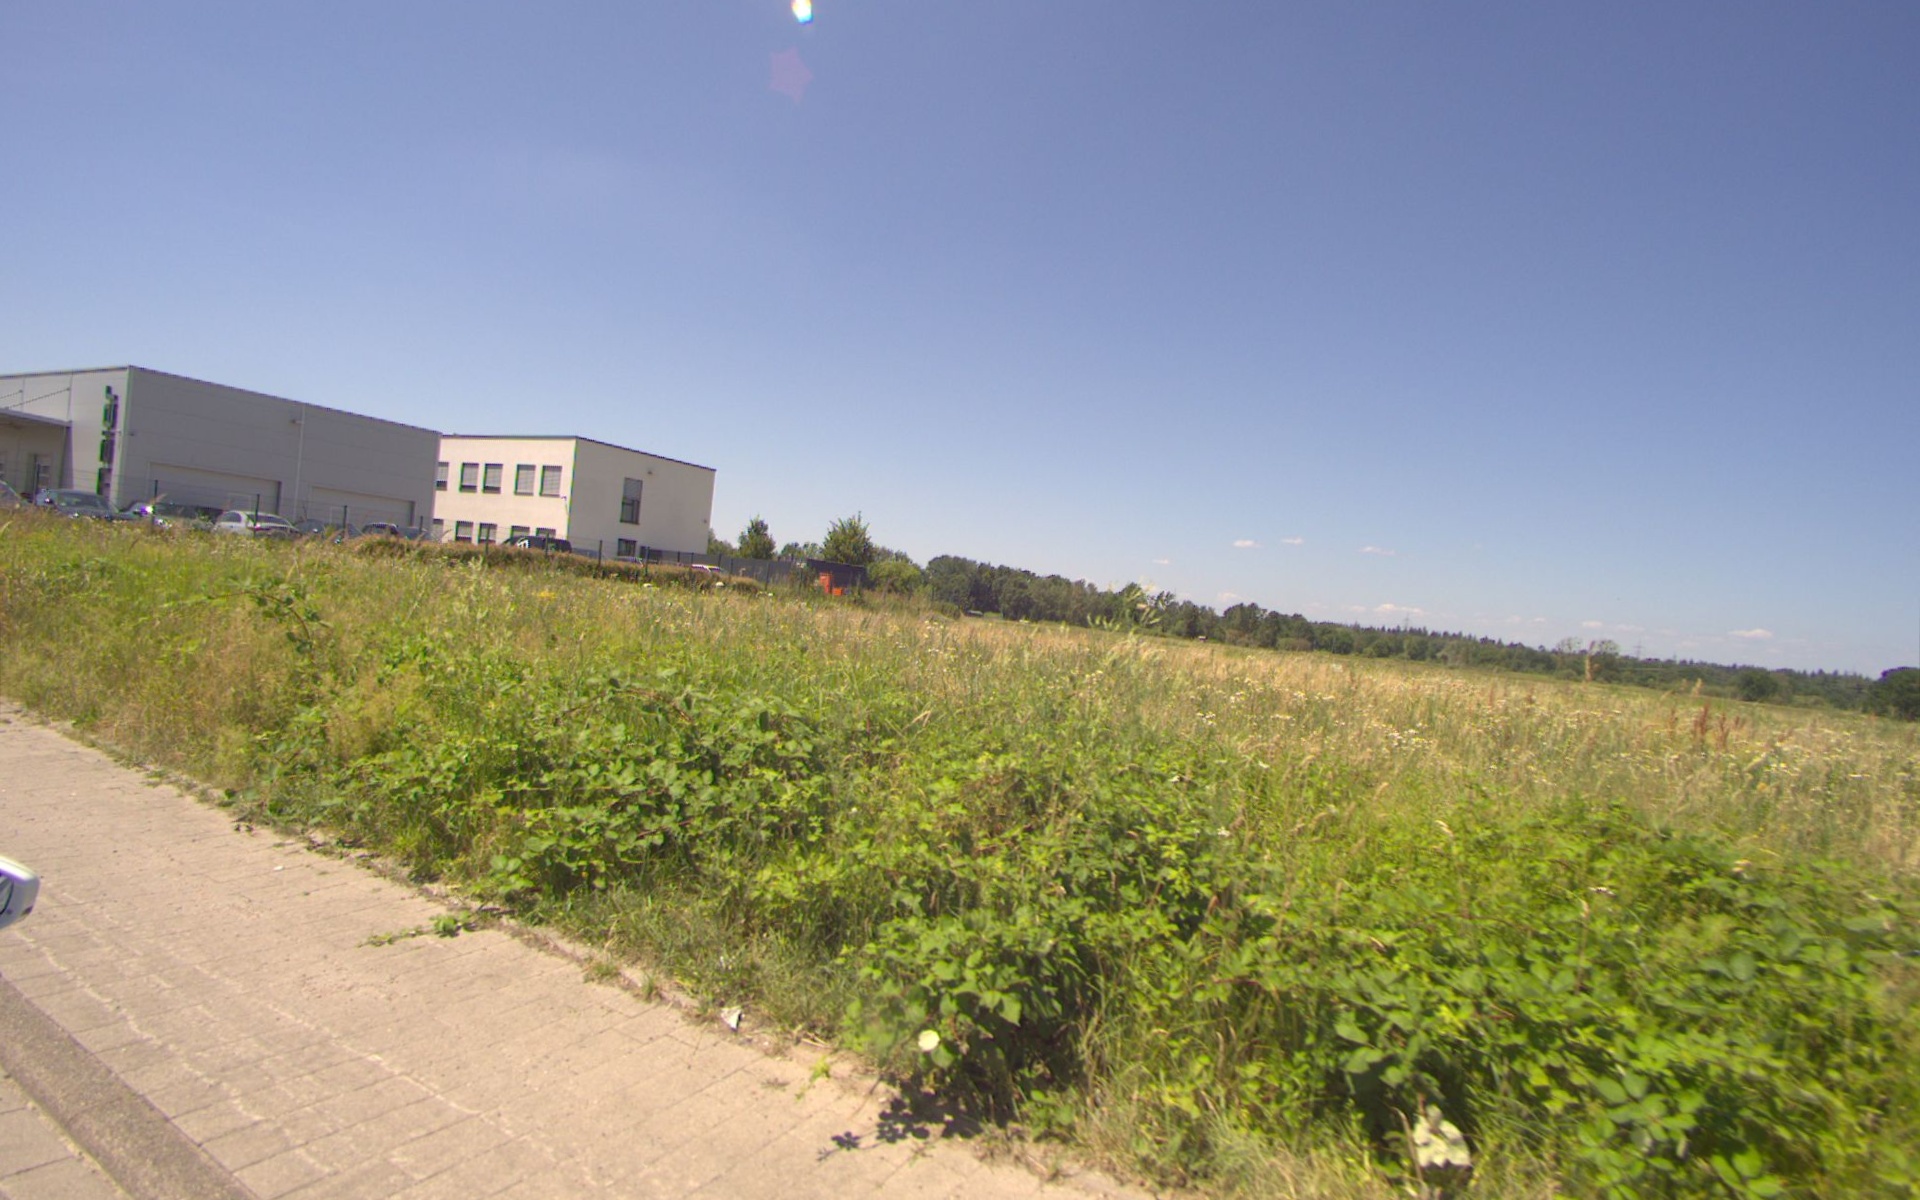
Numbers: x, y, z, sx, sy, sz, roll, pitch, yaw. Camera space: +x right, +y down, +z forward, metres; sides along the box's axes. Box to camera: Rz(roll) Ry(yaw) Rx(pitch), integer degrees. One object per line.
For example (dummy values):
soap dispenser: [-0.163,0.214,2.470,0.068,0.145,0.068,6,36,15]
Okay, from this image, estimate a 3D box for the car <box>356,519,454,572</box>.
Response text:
car: [-21.124,-2.081,38.267,3.721,1.655,1.515,6,1,31]

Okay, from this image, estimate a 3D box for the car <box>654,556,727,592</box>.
car: [-14.032,-1.360,52.353,3.587,1.546,1.527,6,1,31]

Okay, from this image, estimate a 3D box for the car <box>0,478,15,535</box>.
car: [-27.489,-2.689,27.484,3.276,1.515,1.516,6,1,31]

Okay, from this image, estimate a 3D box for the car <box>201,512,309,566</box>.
car: [-23.117,-2.005,32.966,3.481,1.415,1.516,6,1,31]

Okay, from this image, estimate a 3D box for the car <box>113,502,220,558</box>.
car: [-24.495,-2.168,31.041,3.276,1.431,1.458,6,1,31]

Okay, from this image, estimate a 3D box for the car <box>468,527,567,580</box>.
car: [-18.998,-1.995,43.171,4.057,1.870,1.750,6,1,31]

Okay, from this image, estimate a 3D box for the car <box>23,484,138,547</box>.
car: [-25.571,-2.455,29.241,3.276,1.515,1.516,6,1,31]
